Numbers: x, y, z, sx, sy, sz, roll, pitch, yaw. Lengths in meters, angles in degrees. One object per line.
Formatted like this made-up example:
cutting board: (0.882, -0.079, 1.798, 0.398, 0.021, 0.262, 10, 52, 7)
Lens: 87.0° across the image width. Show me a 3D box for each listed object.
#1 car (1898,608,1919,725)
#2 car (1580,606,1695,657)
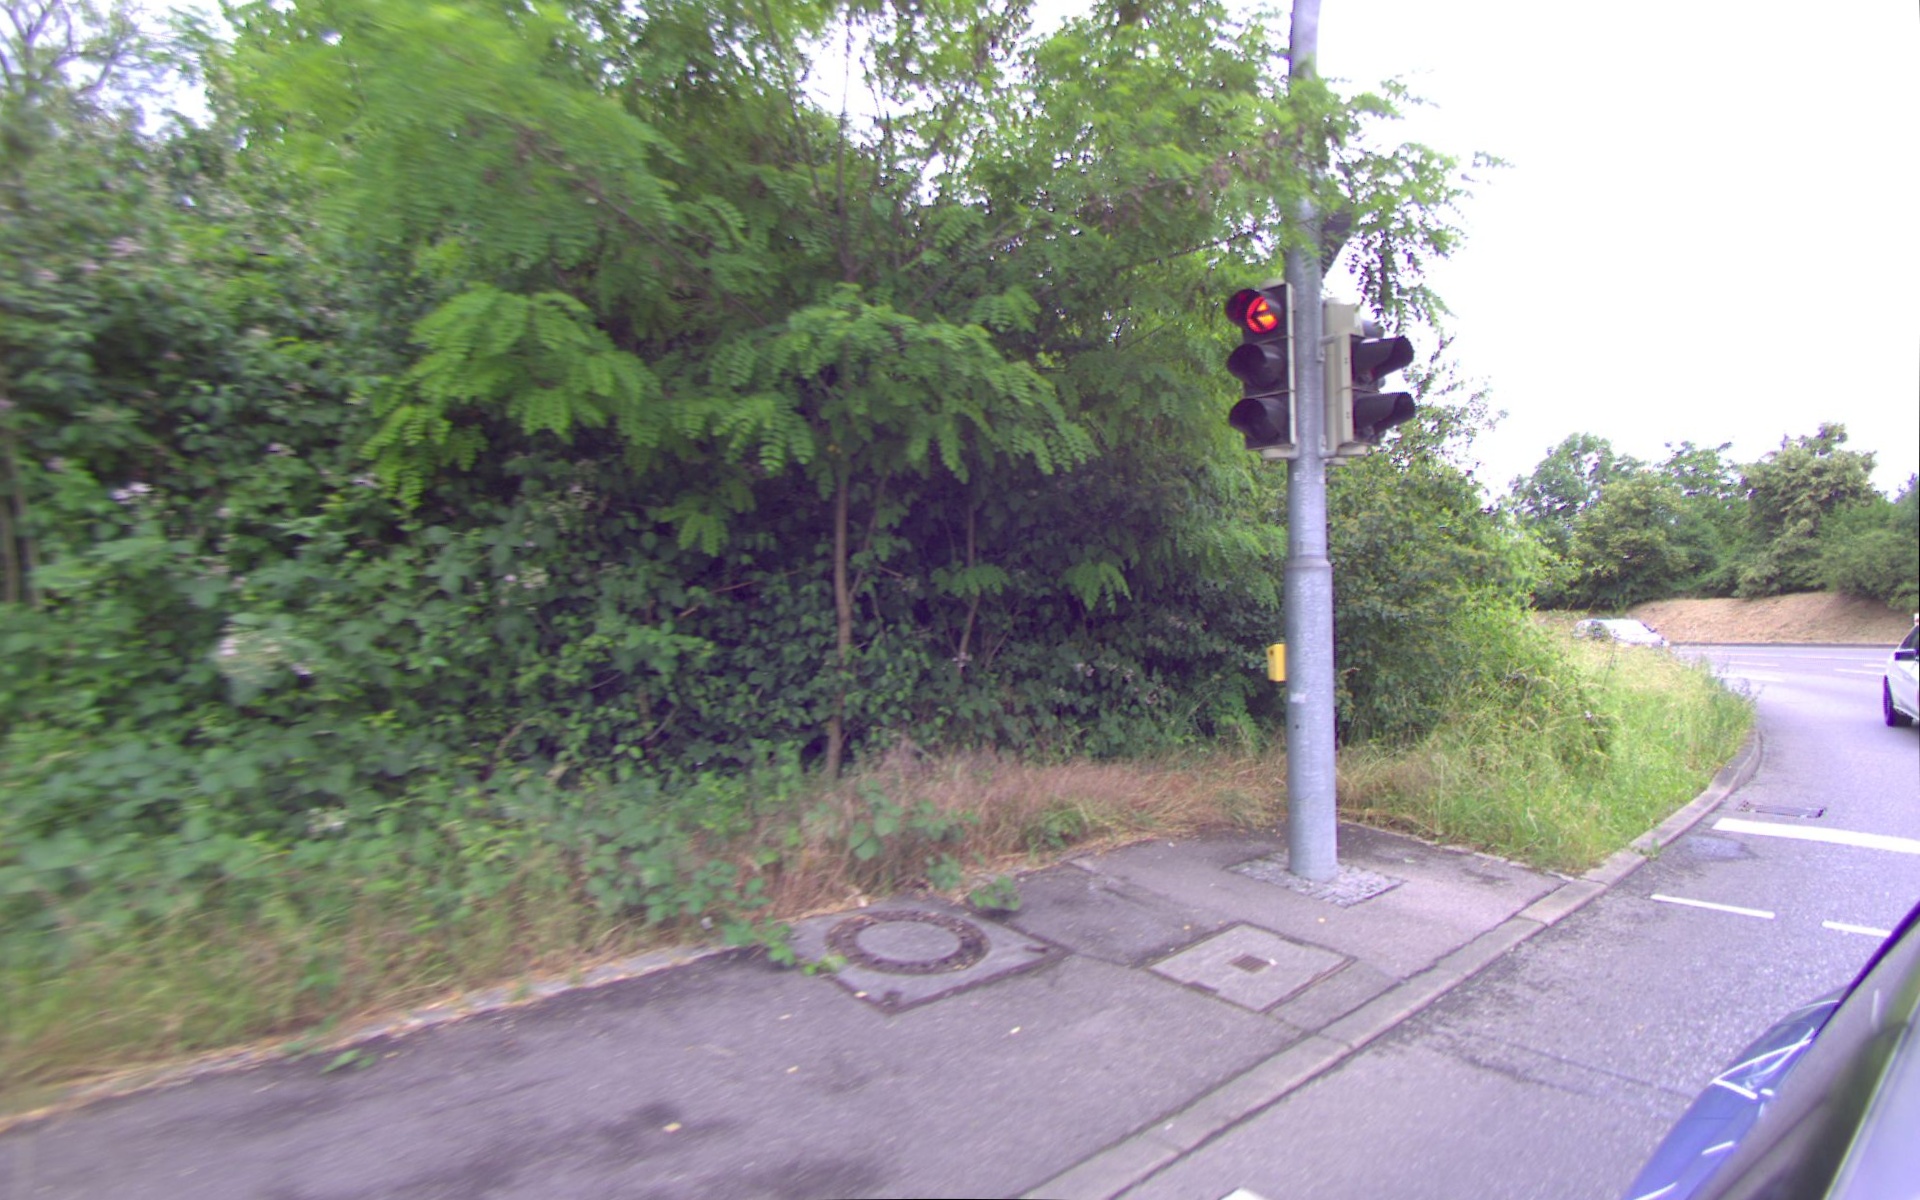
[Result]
car: (12.624, 0.821, 11.962, 1.878, 1.441, 3.944, 0, -2, 38)
car: (22.681, 1.100, 34.053, 1.795, 1.565, 3.712, -2, -3, 10)
